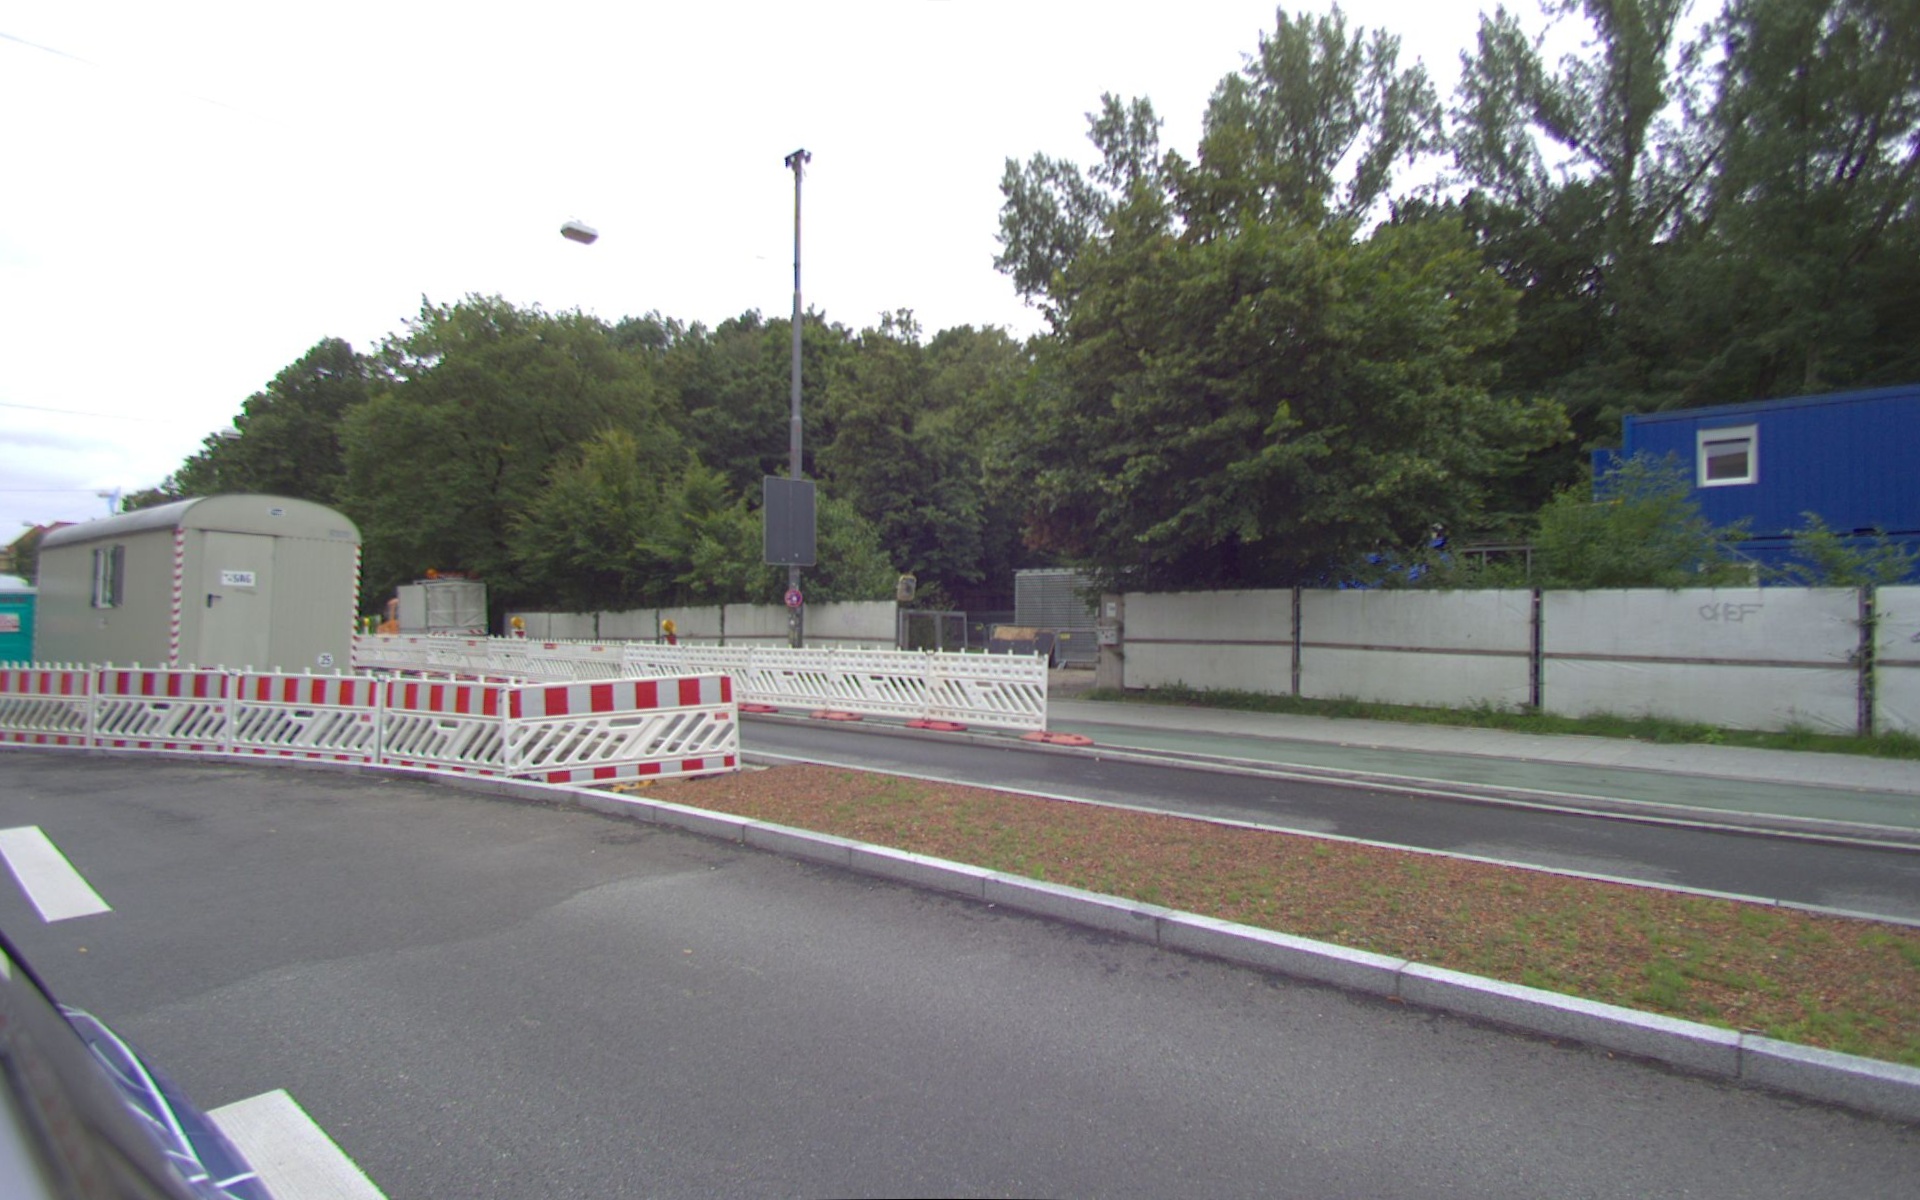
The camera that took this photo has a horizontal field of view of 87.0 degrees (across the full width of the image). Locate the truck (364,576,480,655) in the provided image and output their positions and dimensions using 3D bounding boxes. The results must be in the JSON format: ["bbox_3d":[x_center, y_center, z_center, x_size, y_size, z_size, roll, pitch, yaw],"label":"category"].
[{"bbox_3d":[-20.085,0.621,37.639,5.869,2.749,1.972,-2,-2,43],"label":"truck"}]

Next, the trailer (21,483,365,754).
[{"bbox_3d":[-11.885,0.315,15.382,7.506,3.268,2.206,-1,-2,37],"label":"trailer"}]
